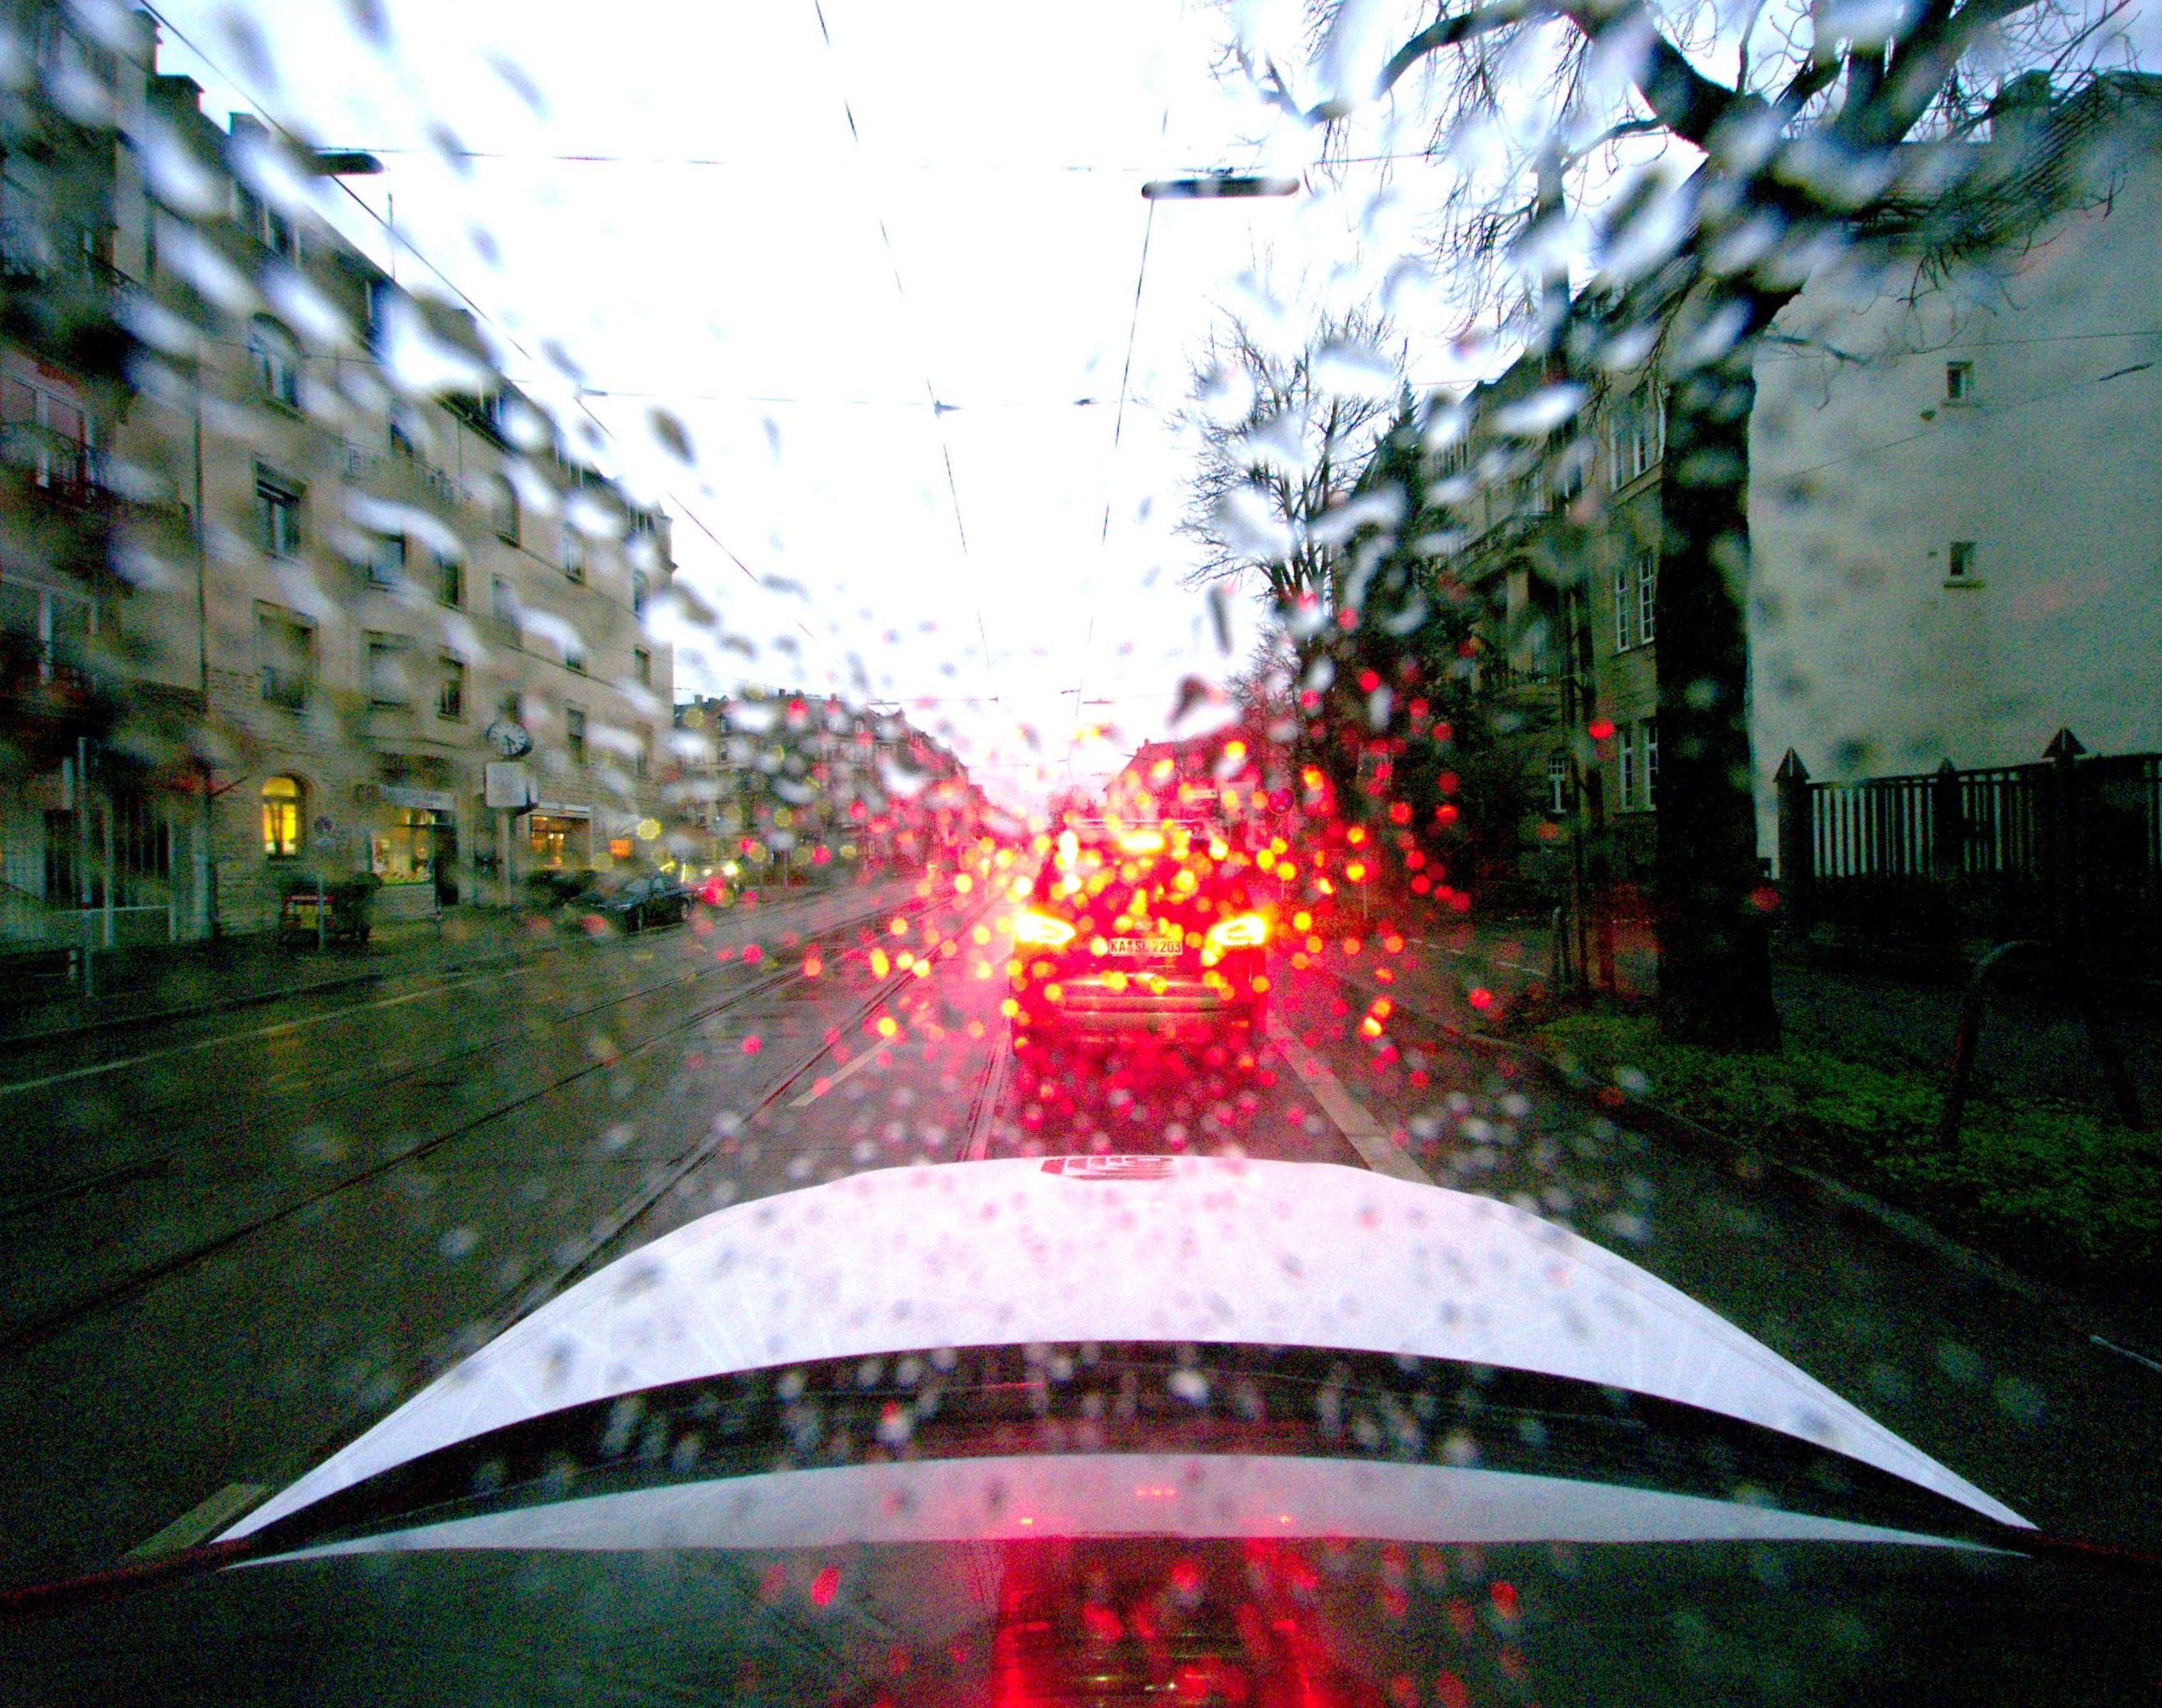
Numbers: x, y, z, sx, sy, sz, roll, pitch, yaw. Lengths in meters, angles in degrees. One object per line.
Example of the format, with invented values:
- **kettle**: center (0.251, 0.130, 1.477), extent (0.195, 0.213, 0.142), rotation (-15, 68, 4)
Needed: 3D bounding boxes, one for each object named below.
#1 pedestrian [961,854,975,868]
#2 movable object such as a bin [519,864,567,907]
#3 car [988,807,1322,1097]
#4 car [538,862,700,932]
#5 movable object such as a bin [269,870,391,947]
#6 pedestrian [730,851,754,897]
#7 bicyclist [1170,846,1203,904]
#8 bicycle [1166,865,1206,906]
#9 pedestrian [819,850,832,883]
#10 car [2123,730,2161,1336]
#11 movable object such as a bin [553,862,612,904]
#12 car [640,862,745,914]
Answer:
- **pedestrian**: center (-9.477, 0.580, 68.408), extent (1.044, 1.200, 0.884), rotation (-1, -1, -1)
- **movable object such as a bin**: center (-17.856, 1.033, 27.043), extent (0.896, 1.377, 1.006), rotation (-1, 0, -2)
- **car**: center (0.481, 0.611, 7.457), extent (2.097, 1.816, 4.660), rotation (0, 0, 0)
- **car**: center (-12.473, 1.090, 22.404), extent (1.982, 1.645, 4.623), rotation (3, -1, -4)
- **movable object such as a bin**: center (-15.076, 1.066, 16.408), extent (1.264, 1.420, 1.249), rotation (-1, 0, -2)
- **pedestrian**: center (-14.942, 0.863, 35.927), extent (0.748, 2.014, 0.652), rotation (-1, -1, 34)
- **bicyclist**: center (3.149, 0.613, 24.348), extent (0.716, 1.662, 1.054), rotation (2, 0, -6)
- **bicycle**: center (3.134, 0.908, 24.377), extent (0.716, 1.112, 1.937), rotation (2, 0, -6)
- **pedestrian**: center (-15.867, 0.741, 50.514), extent (0.707, 2.013, 0.656), rotation (-1, 0, -21)
- **car**: center (4.417, 0.529, 0.145), extent (2.025, 1.875, 4.959), rotation (-2, 0, -2)
- **movable object such as a bin**: center (-17.362, 0.998, 28.410), extent (1.290, 1.367, 1.251), rotation (-1, 0, -2)
- **car**: center (-13.367, 1.118, 28.308), extent (2.035, 1.551, 4.022), rotation (2, 0, -7)
